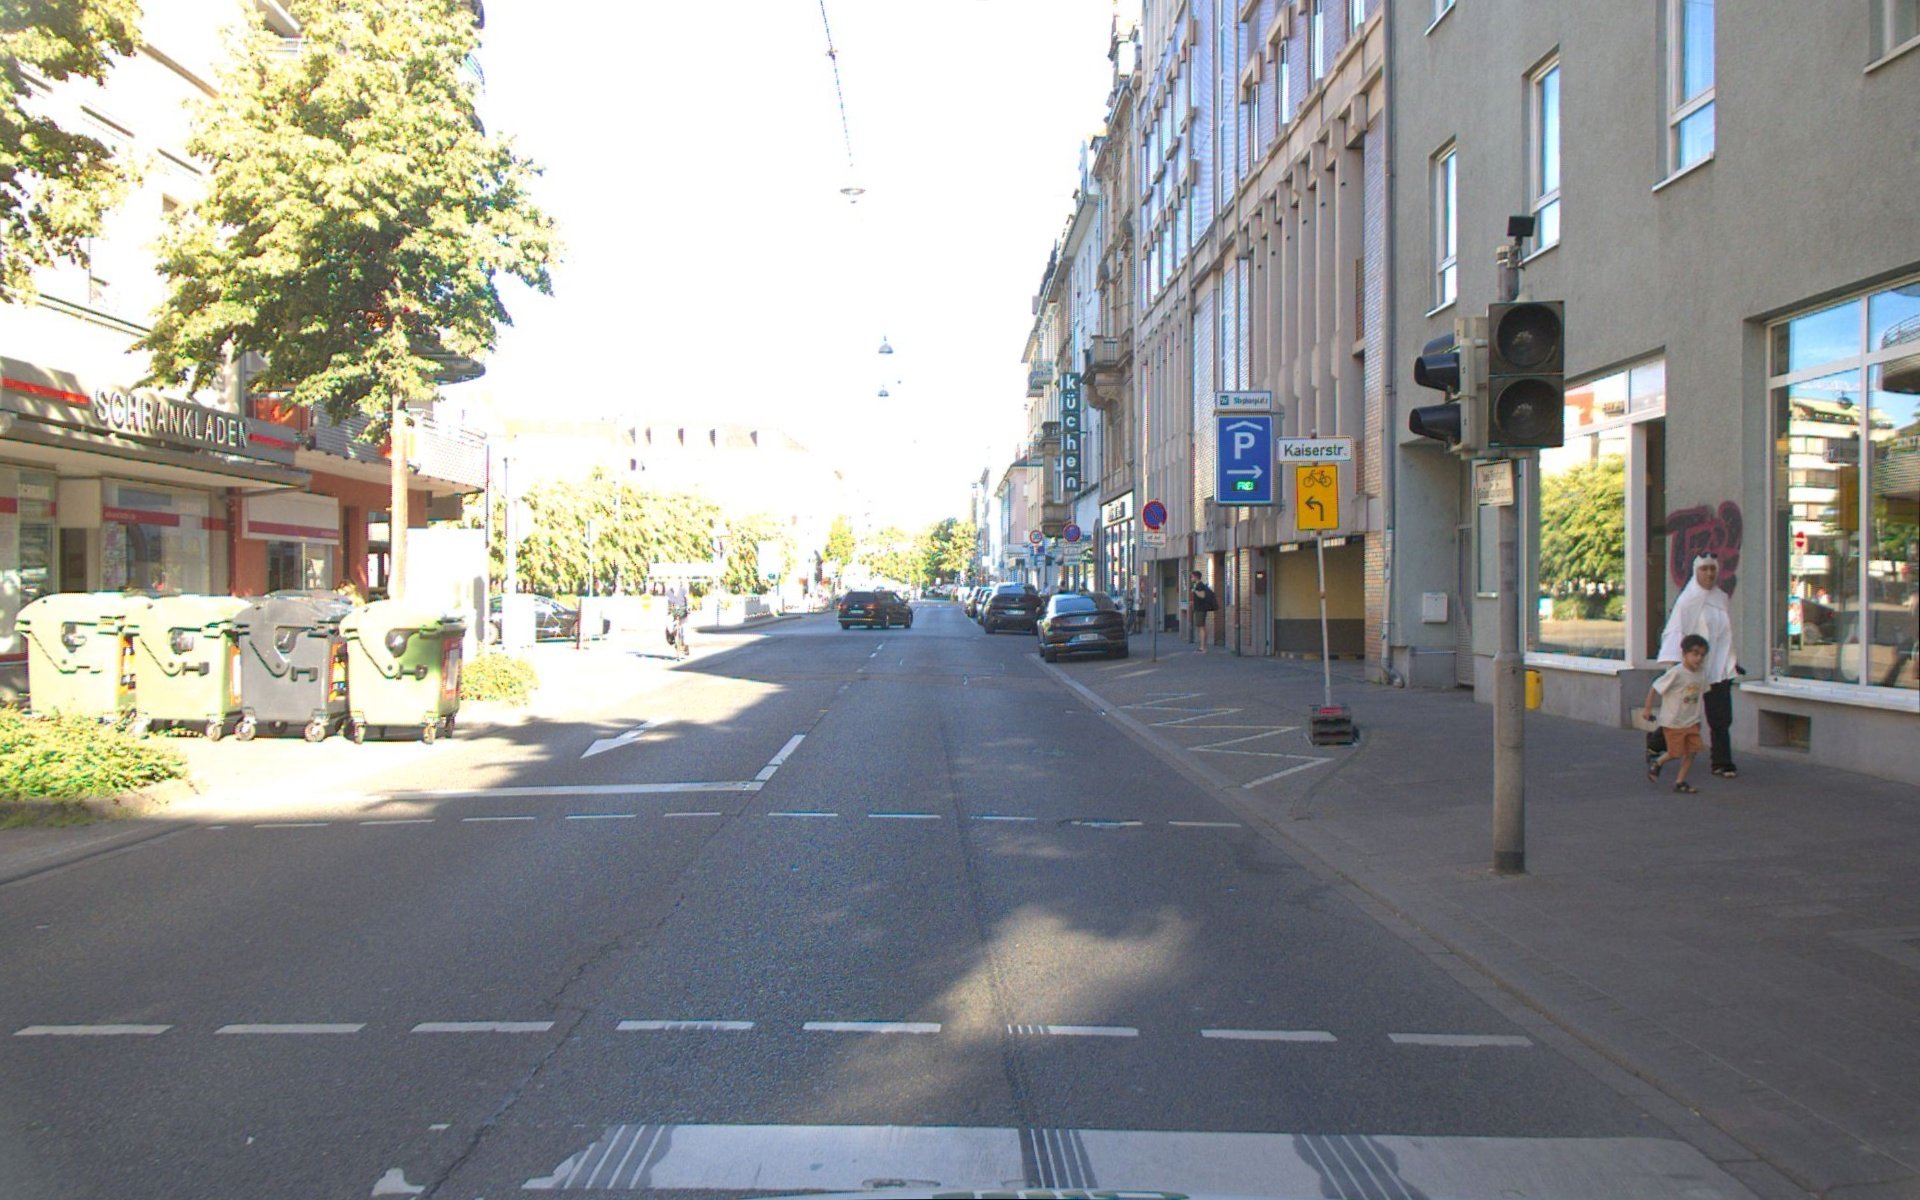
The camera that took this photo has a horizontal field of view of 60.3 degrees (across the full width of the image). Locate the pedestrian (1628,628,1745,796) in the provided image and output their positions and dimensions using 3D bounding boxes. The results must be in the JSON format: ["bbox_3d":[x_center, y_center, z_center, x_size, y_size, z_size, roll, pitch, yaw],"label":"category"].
[{"bbox_3d":[4.846,0.731,11.058,0.385,1.051,0.739,-3,0,-2],"label":"pedestrian"}]

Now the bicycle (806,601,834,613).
[{"bbox_3d":[-11.337,0.565,134.123,2.197,0.898,0.924,0,0,3],"label":"bicycle"}]

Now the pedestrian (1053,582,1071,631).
[{"bbox_3d":[3.728,0.246,60.516,0.607,1.797,0.518,0,0,2],"label":"pedestrian"}]

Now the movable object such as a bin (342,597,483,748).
[{"bbox_3d":[-5.701,0.725,17.318,1.021,1.497,1.452,-1,0,-2],"label":"movable object such as a bin"}]

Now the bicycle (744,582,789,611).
[{"bbox_3d":[-13.804,-0.283,117.772,3.054,2.049,0.909,0,0,8],"label":"bicycle"}]

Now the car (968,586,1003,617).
[{"bbox_3d":[1.401,0.107,92.095,1.682,1.664,4.082,1,-1,-2],"label":"car"}]

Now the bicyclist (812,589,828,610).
[{"bbox_3d":[-11.357,-0.064,134.115,1.122,1.715,0.915,0,0,2],"label":"bicyclist"}]

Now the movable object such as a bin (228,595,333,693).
[{"bbox_3d":[-9.940,0.623,24.247,1.021,1.369,1.313,-1,0,-2],"label":"movable object such as a bin"}]

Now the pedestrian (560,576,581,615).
[{"bbox_3d":[-21.497,-0.243,91.299,0.717,2.145,0.967,0,0,21],"label":"pedestrian"}]

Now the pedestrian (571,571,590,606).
[{"bbox_3d":[-23.118,-0.694,100.736,0.717,2.145,0.967,0,0,21],"label":"pedestrian"}]

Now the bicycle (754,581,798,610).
[{"bbox_3d":[-13.422,-0.334,120.771,3.054,2.049,0.909,0,0,8],"label":"bicycle"}]

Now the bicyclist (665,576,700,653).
[{"bbox_3d":[-6.160,0.309,36.730,0.683,1.682,1.034,-1,0,-7],"label":"bicyclist"}]

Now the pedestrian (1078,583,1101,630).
[{"bbox_3d":[4.725,0.230,60.349,0.784,1.704,0.589,-2,0,2],"label":"pedestrian"}]

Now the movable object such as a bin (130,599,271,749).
[{"bbox_3d":[-7.861,0.741,17.179,0.944,1.497,1.143,0,0,-2],"label":"movable object such as a bin"}]

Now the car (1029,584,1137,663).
[{"bbox_3d":[2.654,0.464,36.678,1.879,1.504,4.964,-4,1,-1],"label":"car"}]

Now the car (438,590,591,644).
[{"bbox_3d":[-13.476,0.495,50.249,4.404,1.506,1.995,-1,1,-14],"label":"car"}]

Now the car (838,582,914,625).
[{"bbox_3d":[-3.051,0.116,61.092,1.893,1.513,4.275,0,0,10],"label":"car"}]

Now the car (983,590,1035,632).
[{"bbox_3d":[1.833,0.394,63.113,1.801,1.513,4.184,1,1,-1],"label":"car"}]

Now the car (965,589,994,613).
[{"bbox_3d":[1.280,0.087,109.605,1.756,1.485,3.867,1,-1,-1],"label":"car"}]

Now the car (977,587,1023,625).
[{"bbox_3d":[1.744,0.236,73.491,1.802,1.573,4.227,1,1,-1],"label":"car"}]

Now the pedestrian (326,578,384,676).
[{"bbox_3d":[-10.611,0.458,29.019,0.651,1.688,1.036,0,0,-2],"label":"pedestrian"}]

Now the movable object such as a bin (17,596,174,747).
[{"bbox_3d":[-8.914,0.713,17.106,1.021,1.497,1.143,-1,0,-2],"label":"movable object such as a bin"}]

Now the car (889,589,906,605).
[{"bbox_3d":[-7.853,-0.385,207.234,1.952,1.802,4.001,1,1,0],"label":"car"}]

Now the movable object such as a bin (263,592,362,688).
[{"bbox_3d":[-9.998,0.599,25.596,1.021,1.428,1.313,-1,0,-2],"label":"movable object such as a bin"}]

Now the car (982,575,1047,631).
[{"bbox_3d":[1.800,0.069,55.998,1.933,1.755,4.823,1,1,-1],"label":"car"}]

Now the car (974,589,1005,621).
[{"bbox_3d":[1.510,0.237,86.225,1.580,1.573,2.855,1,1,0],"label":"car"}]

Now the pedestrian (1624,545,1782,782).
[{"bbox_3d":[5.287,0.432,11.820,0.569,1.586,1.020,-3,0,-2],"label":"pedestrian"}]

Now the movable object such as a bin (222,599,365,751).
[{"bbox_3d":[-6.855,0.748,17.082,1.021,1.497,1.143,-1,0,-2],"label":"movable object such as a bin"}]

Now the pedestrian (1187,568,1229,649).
[{"bbox_3d":[5.251,0.170,35.106,0.678,1.664,0.889,-3,0,-2],"label":"pedestrian"}]

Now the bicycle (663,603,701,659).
[{"bbox_3d":[-6.156,0.673,36.712,0.692,1.166,1.965,-1,0,-6],"label":"bicycle"}]
